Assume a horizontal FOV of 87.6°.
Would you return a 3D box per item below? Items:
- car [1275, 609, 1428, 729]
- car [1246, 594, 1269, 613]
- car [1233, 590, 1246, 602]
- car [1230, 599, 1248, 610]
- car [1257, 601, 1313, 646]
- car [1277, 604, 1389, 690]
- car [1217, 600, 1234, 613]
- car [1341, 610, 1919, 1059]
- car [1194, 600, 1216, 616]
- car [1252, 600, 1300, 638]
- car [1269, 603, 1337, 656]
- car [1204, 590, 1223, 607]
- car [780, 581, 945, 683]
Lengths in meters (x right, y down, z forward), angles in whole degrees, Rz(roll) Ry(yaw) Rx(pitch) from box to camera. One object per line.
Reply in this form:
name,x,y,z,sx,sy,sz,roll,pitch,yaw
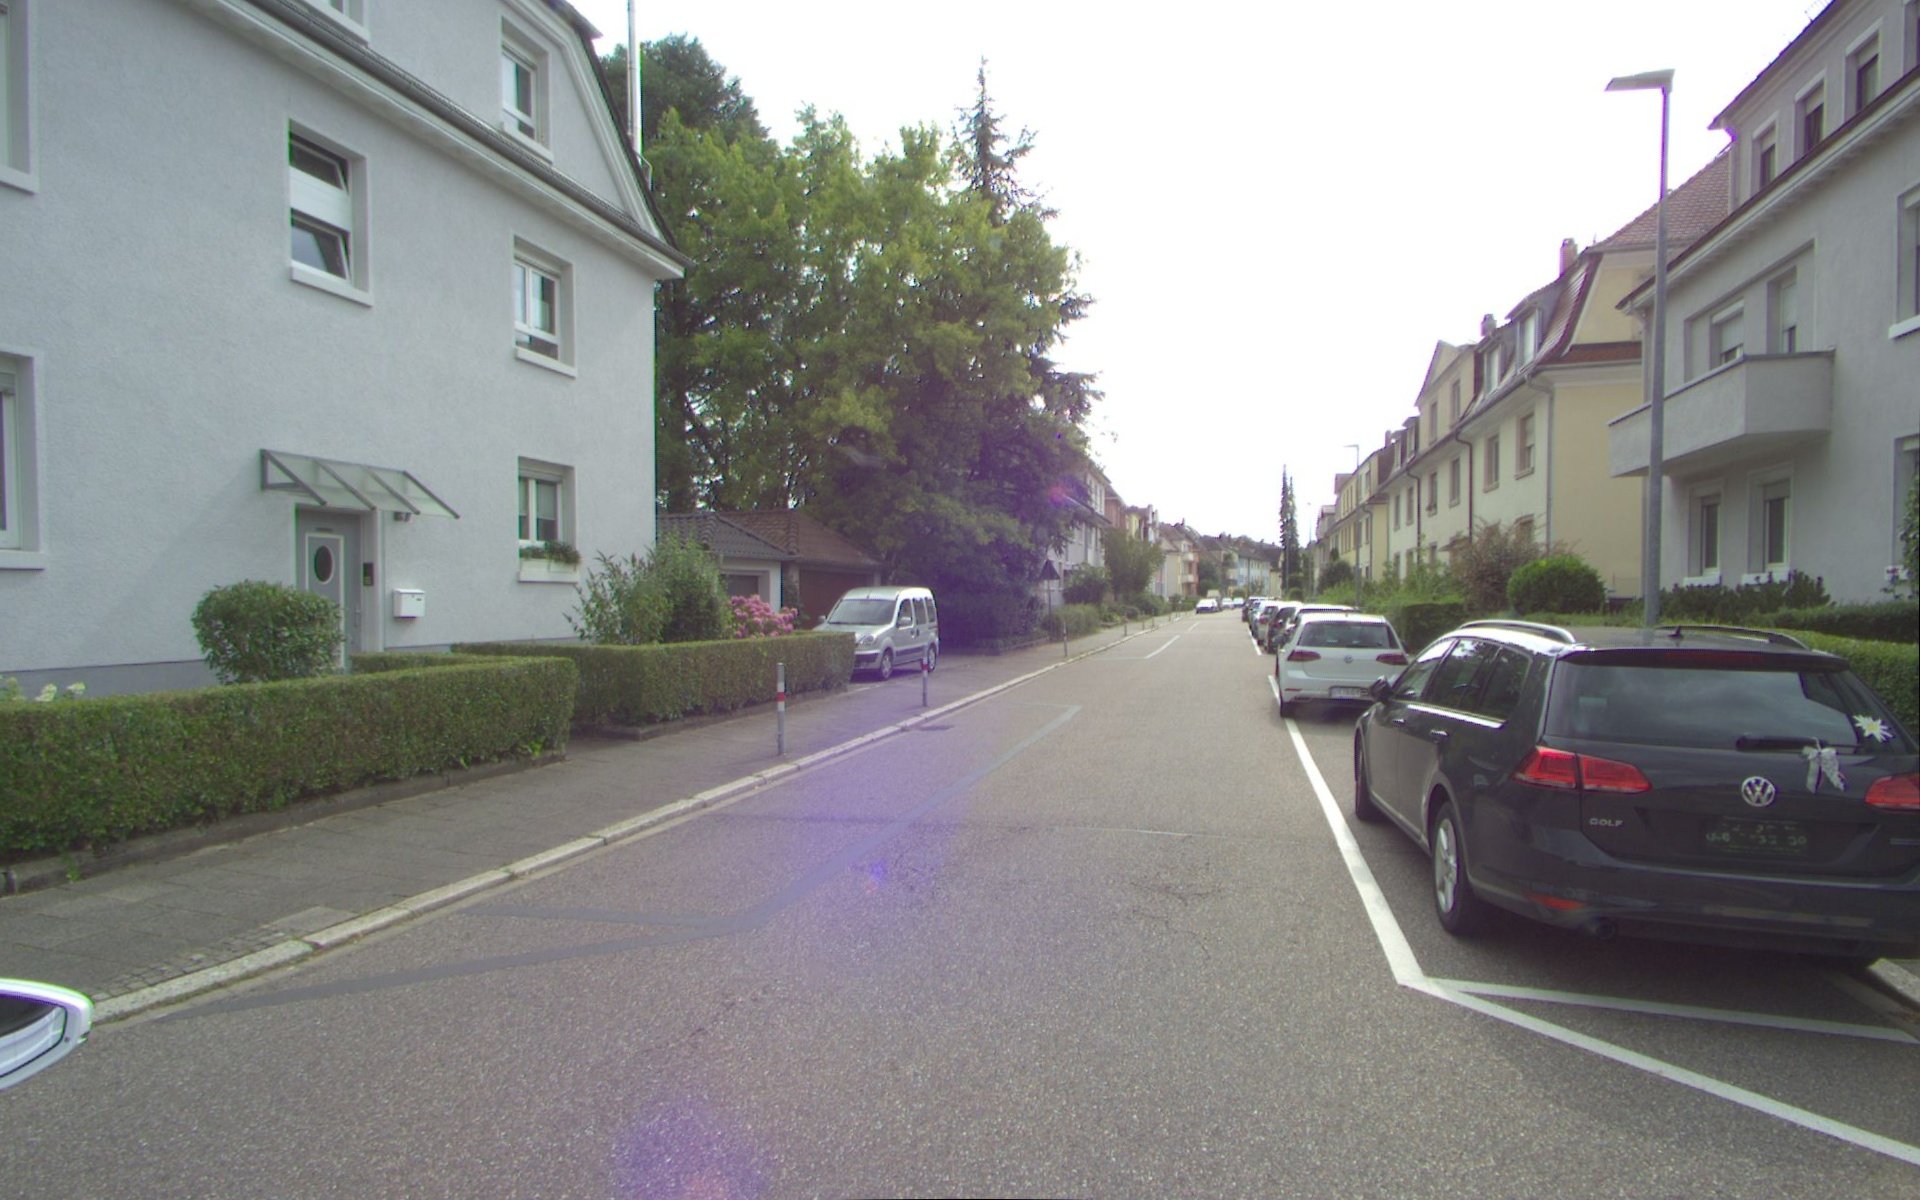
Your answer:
car,5.736,0.902,15.110,1.826,1.491,4.168,0,0,17
car,26.081,0.306,87.823,1.826,1.599,4.169,0,0,16
car,49.639,-0.683,177.968,1.965,2.152,3.992,0,0,19
car,41.526,0.723,149.156,1.967,1.556,3.987,-2,0,24
car,11.730,0.799,36.305,1.826,1.491,4.168,0,0,17
car,7.265,0.838,19.833,1.826,1.491,4.168,0,0,17
car,36.139,0.850,136.368,1.965,1.662,3.992,0,0,19
car,3.408,0.830,5.547,1.825,1.491,4.171,0,0,12
car,26.681,0.831,108.834,1.965,1.662,3.992,0,0,19
car,13.248,0.767,42.047,1.826,1.491,4.168,0,0,17
car,10.538,0.846,30.981,1.826,1.491,4.168,0,0,17
car,30.607,-0.184,120.641,1.964,2.040,3.993,0,0,18
car,-1.849,0.584,20.413,1.964,1.862,3.993,0,0,17
